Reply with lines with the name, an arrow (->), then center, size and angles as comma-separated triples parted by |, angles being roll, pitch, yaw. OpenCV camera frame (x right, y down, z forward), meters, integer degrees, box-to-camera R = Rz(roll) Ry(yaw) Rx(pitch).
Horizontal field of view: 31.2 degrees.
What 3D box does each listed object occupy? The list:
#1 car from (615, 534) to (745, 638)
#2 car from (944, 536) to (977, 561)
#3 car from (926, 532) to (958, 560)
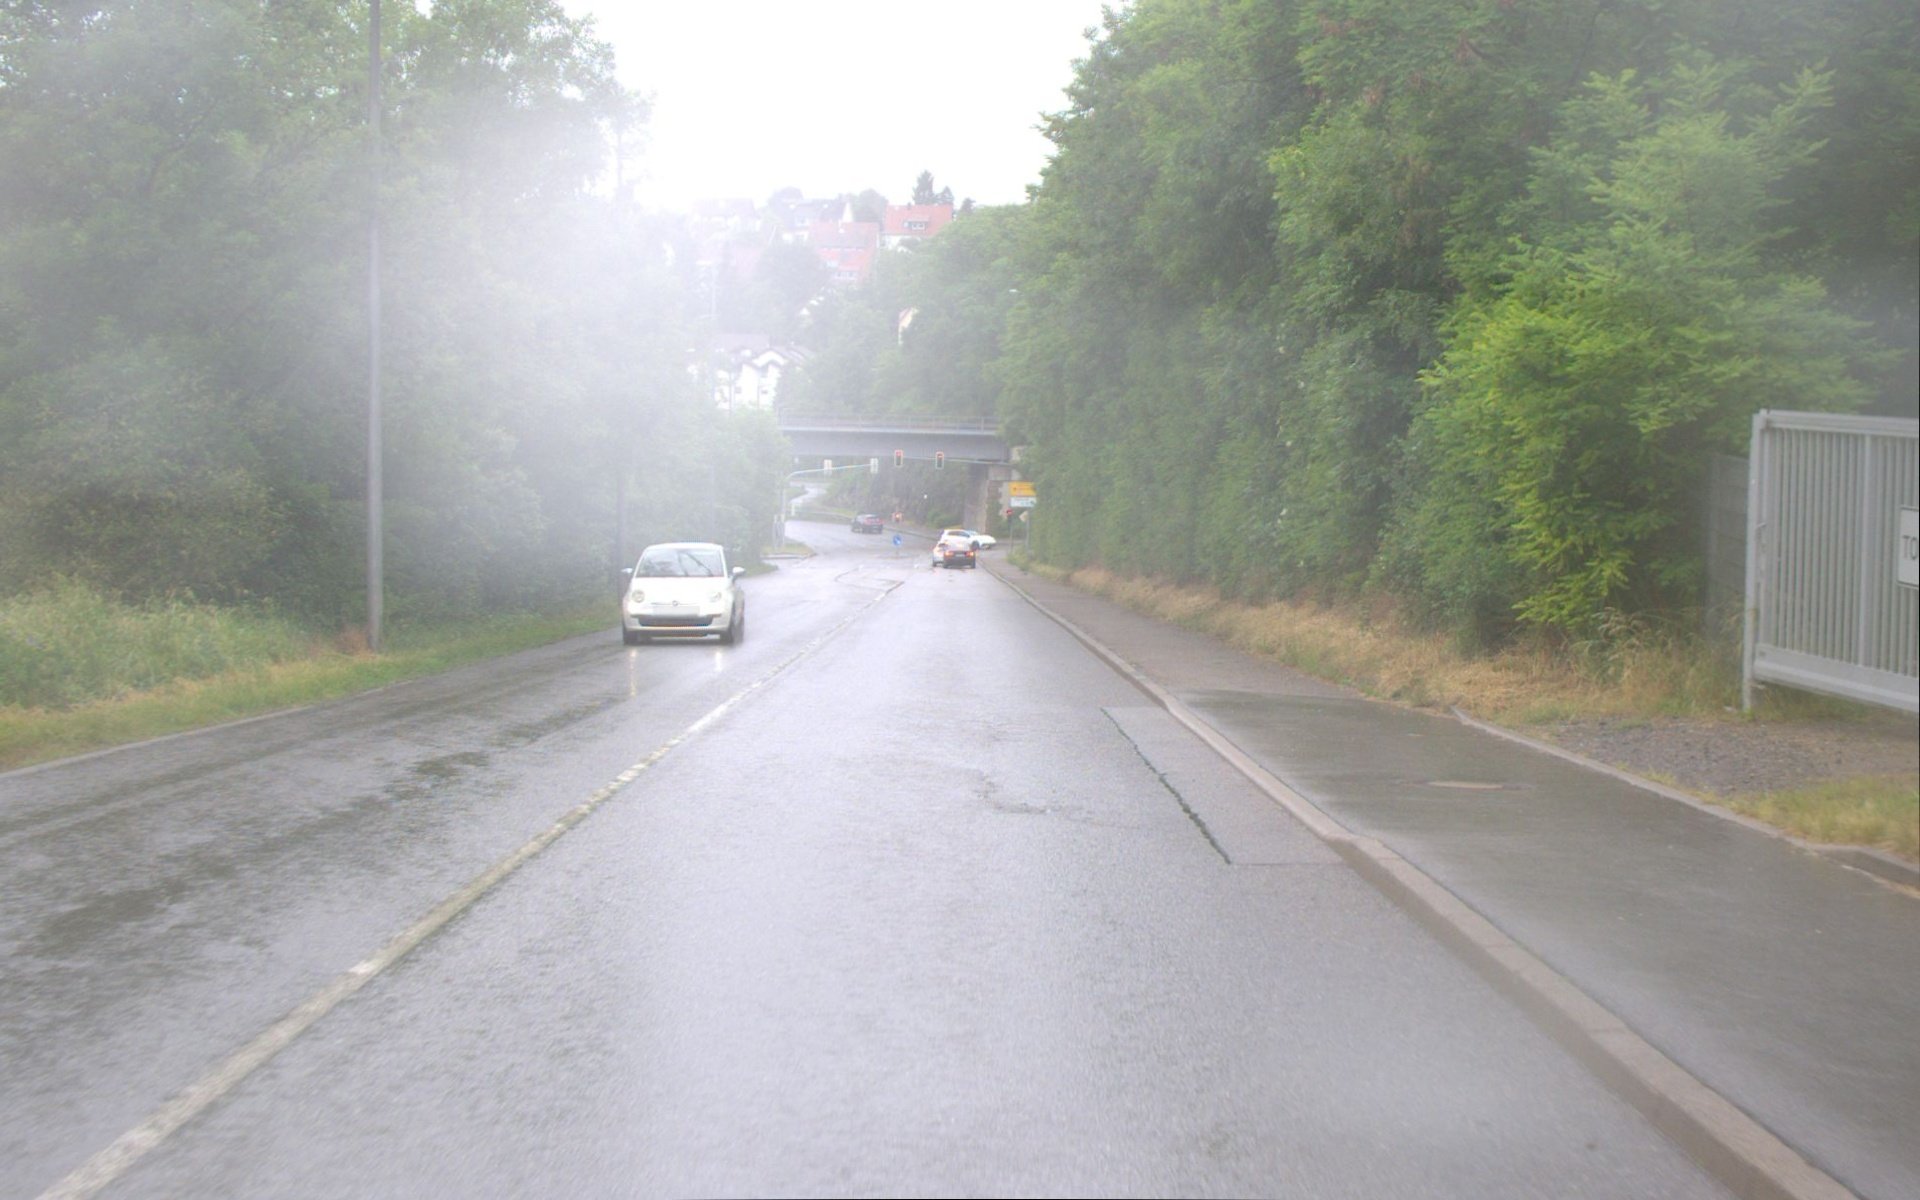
car -> -4.135, -0.226, 51.234 | 1.639, 1.483, 3.454 | -1, 1, 0
car -> 0.025, -2.850, 190.690 | 1.768, 1.375, 4.000 | -1, 1, 0
car -> -1.038, -3.118, 197.509 | 1.768, 1.557, 4.000 | -1, 1, 0
